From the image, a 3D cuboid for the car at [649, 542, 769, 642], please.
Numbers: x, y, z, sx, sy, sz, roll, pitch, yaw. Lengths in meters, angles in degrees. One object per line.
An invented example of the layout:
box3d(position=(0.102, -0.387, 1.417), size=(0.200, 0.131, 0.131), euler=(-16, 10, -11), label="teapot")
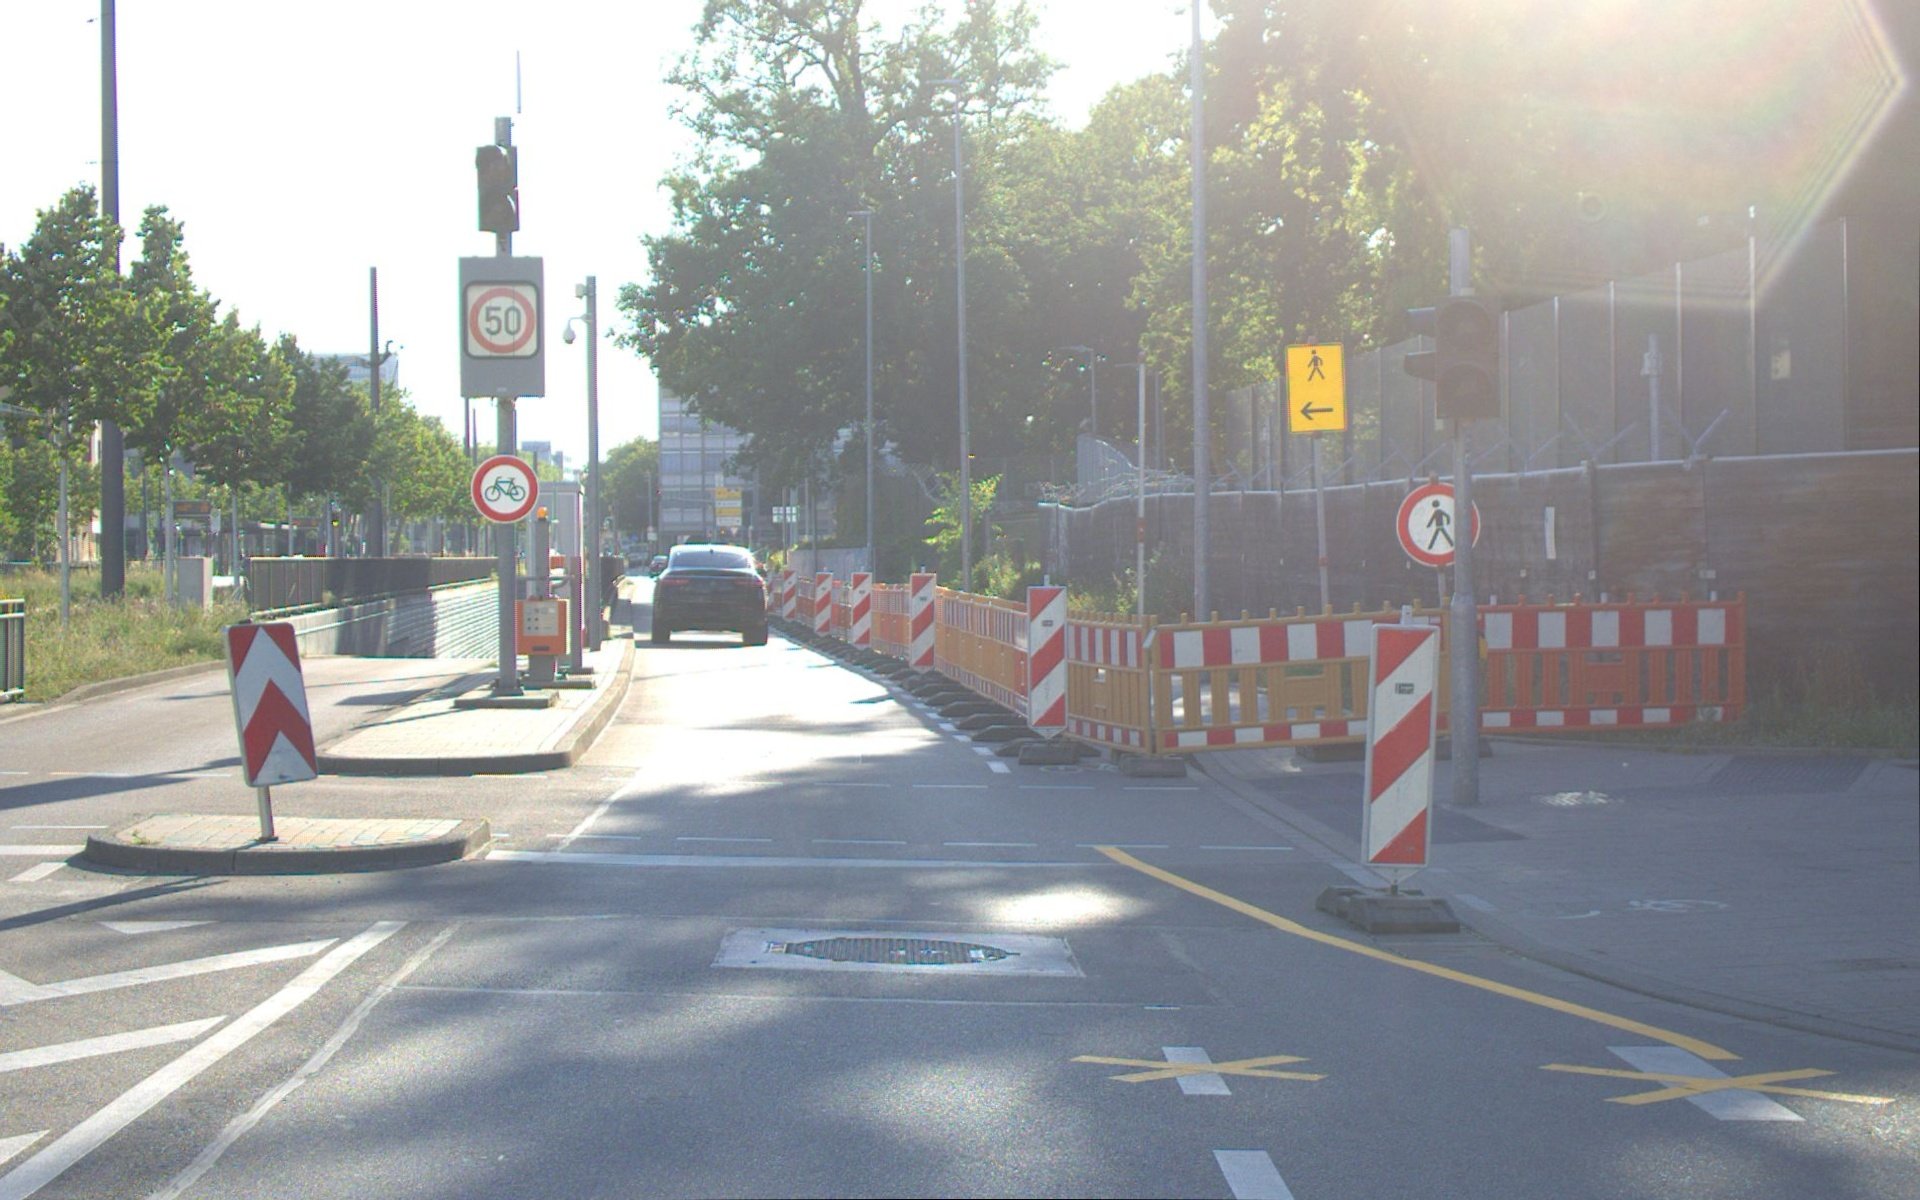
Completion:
box3d(position=(-4.434, -0.151, 60.574), size=(2.005, 1.653, 4.001), euler=(1, 0, -4), label="car")
